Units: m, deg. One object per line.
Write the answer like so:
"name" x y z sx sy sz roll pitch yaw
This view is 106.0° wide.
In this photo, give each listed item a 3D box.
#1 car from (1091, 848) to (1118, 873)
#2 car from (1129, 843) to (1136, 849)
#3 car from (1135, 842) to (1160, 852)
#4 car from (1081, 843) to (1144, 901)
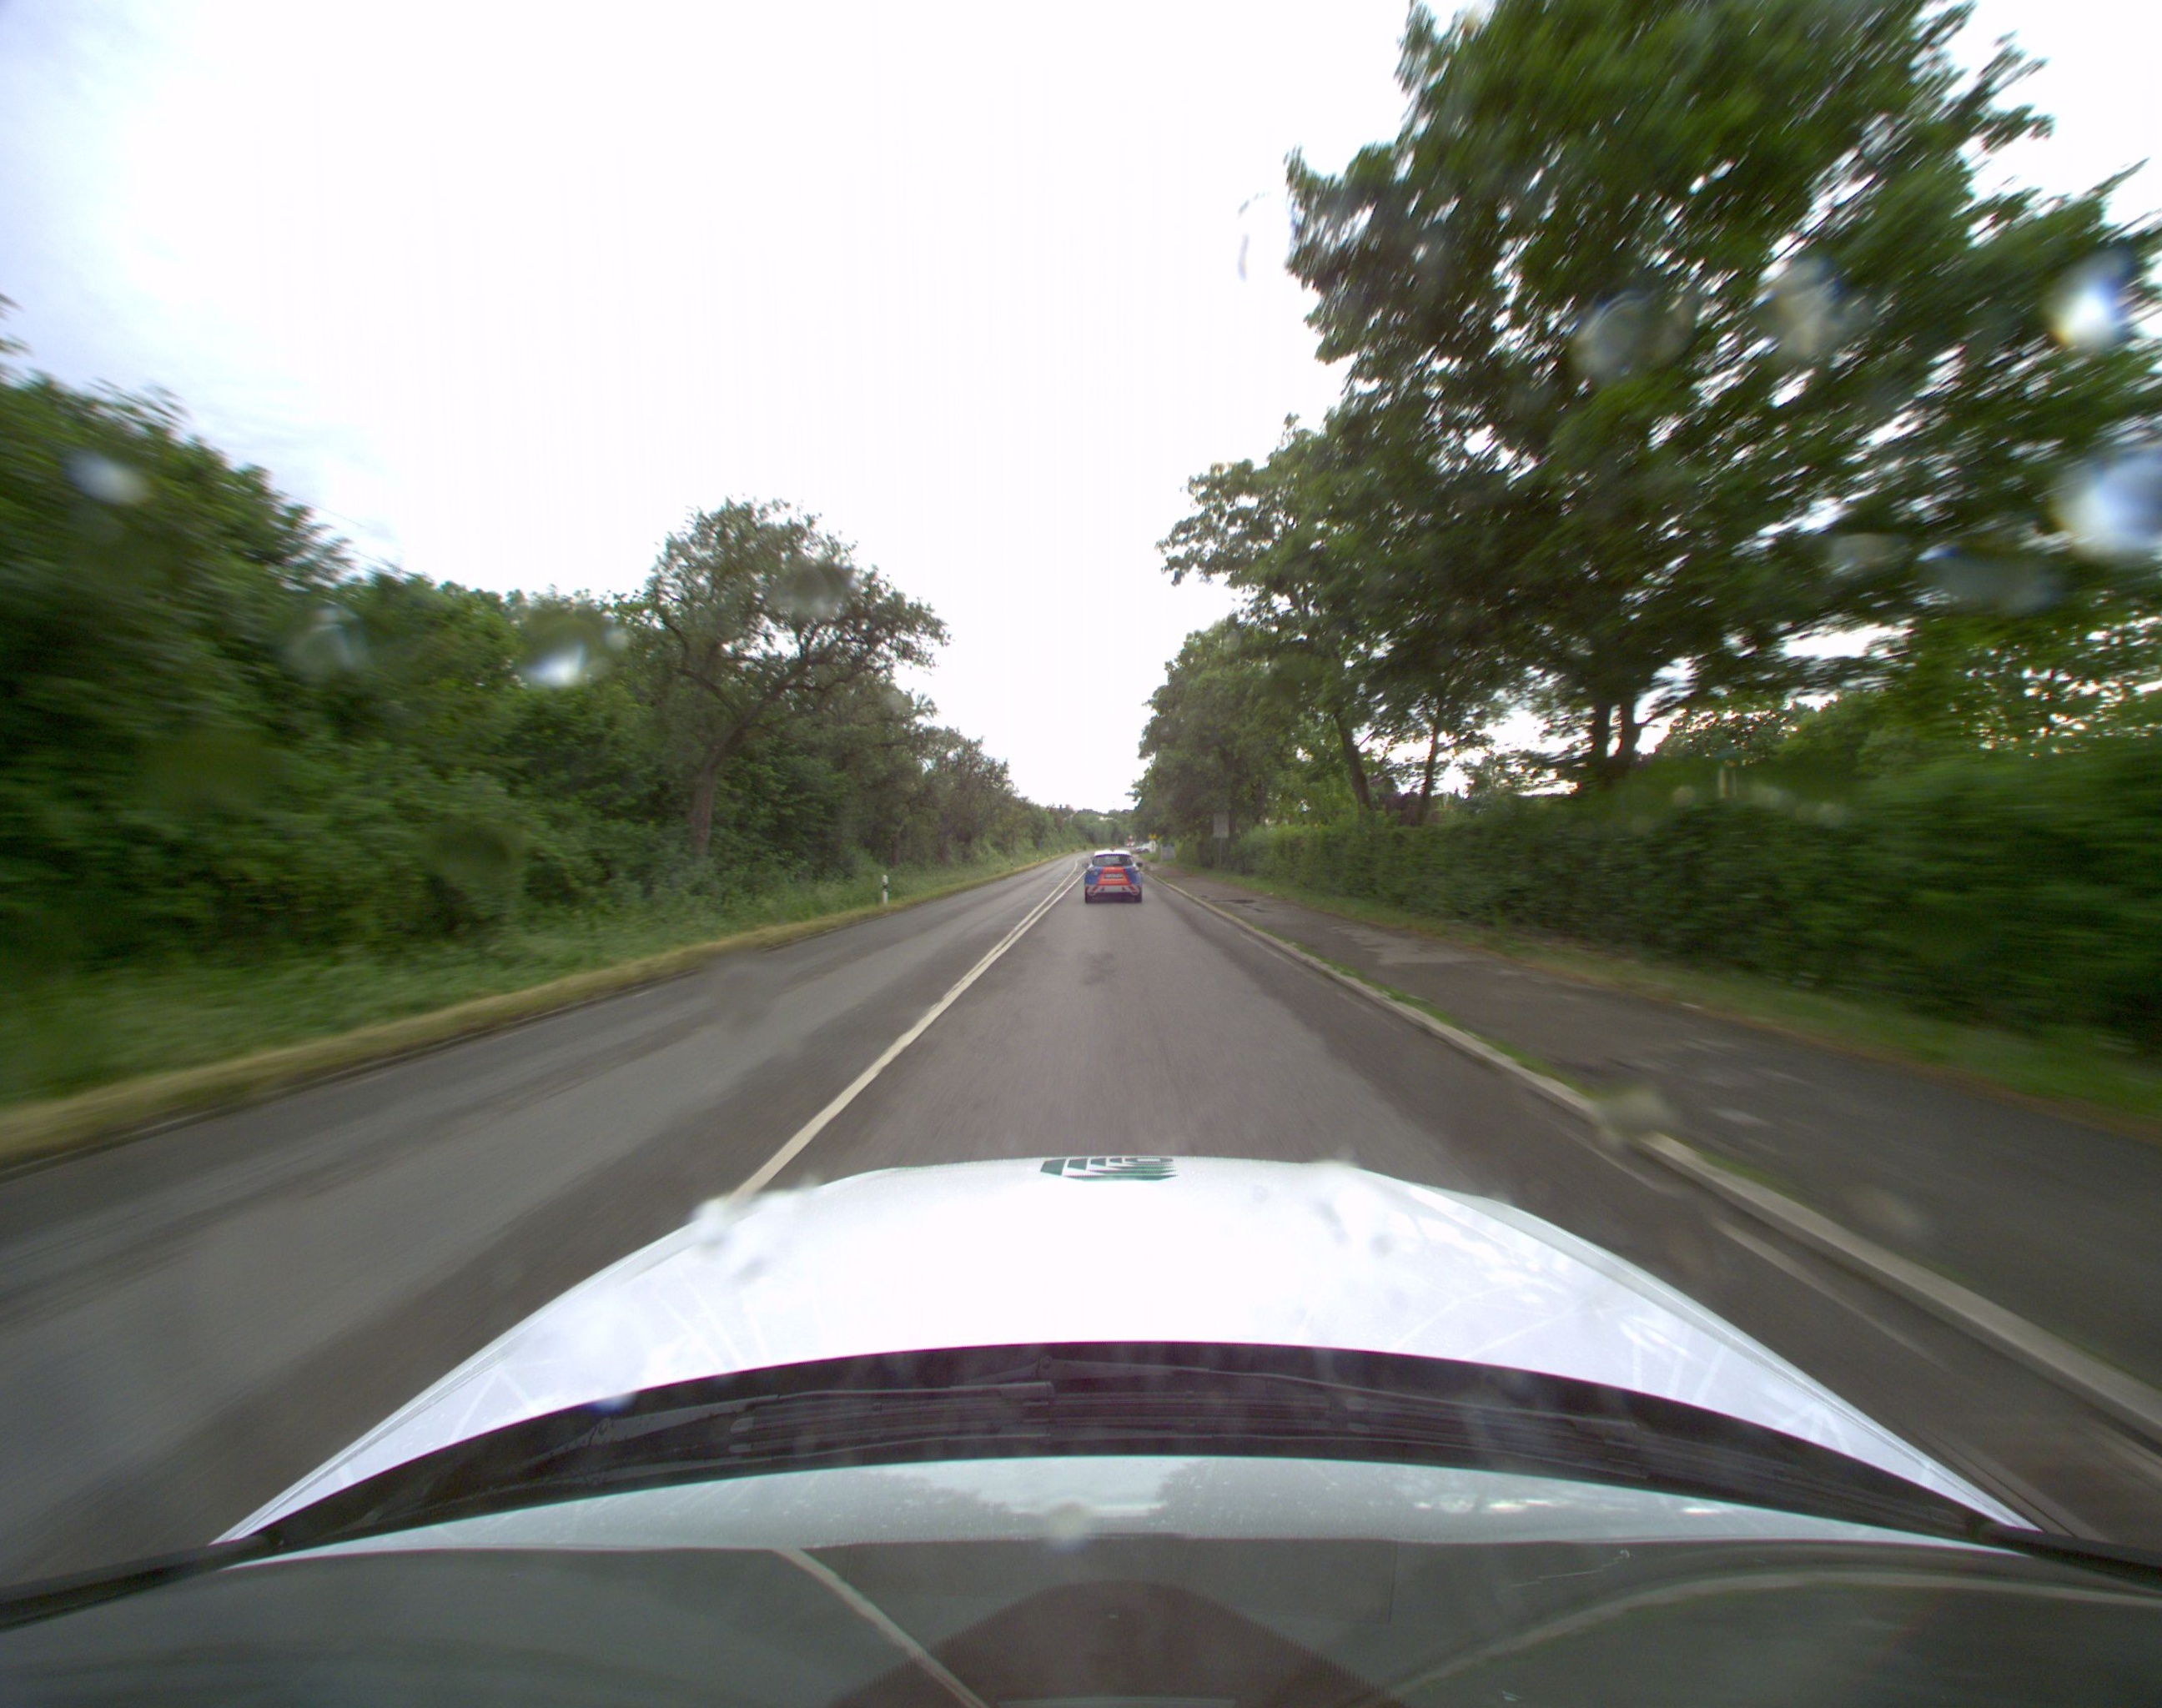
"car" 1.528 0.409 53.866 1.688 1.595 3.856 0 0 0
"car" 16.507 -2.489 260.646 1.682 1.790 3.870 0 0 14
"car" 11.985 -1.287 146.850 4.644 1.751 2.011 0 0 -43
"car" 0.960 0.530 25.434 1.799 1.668 3.857 0 0 1
